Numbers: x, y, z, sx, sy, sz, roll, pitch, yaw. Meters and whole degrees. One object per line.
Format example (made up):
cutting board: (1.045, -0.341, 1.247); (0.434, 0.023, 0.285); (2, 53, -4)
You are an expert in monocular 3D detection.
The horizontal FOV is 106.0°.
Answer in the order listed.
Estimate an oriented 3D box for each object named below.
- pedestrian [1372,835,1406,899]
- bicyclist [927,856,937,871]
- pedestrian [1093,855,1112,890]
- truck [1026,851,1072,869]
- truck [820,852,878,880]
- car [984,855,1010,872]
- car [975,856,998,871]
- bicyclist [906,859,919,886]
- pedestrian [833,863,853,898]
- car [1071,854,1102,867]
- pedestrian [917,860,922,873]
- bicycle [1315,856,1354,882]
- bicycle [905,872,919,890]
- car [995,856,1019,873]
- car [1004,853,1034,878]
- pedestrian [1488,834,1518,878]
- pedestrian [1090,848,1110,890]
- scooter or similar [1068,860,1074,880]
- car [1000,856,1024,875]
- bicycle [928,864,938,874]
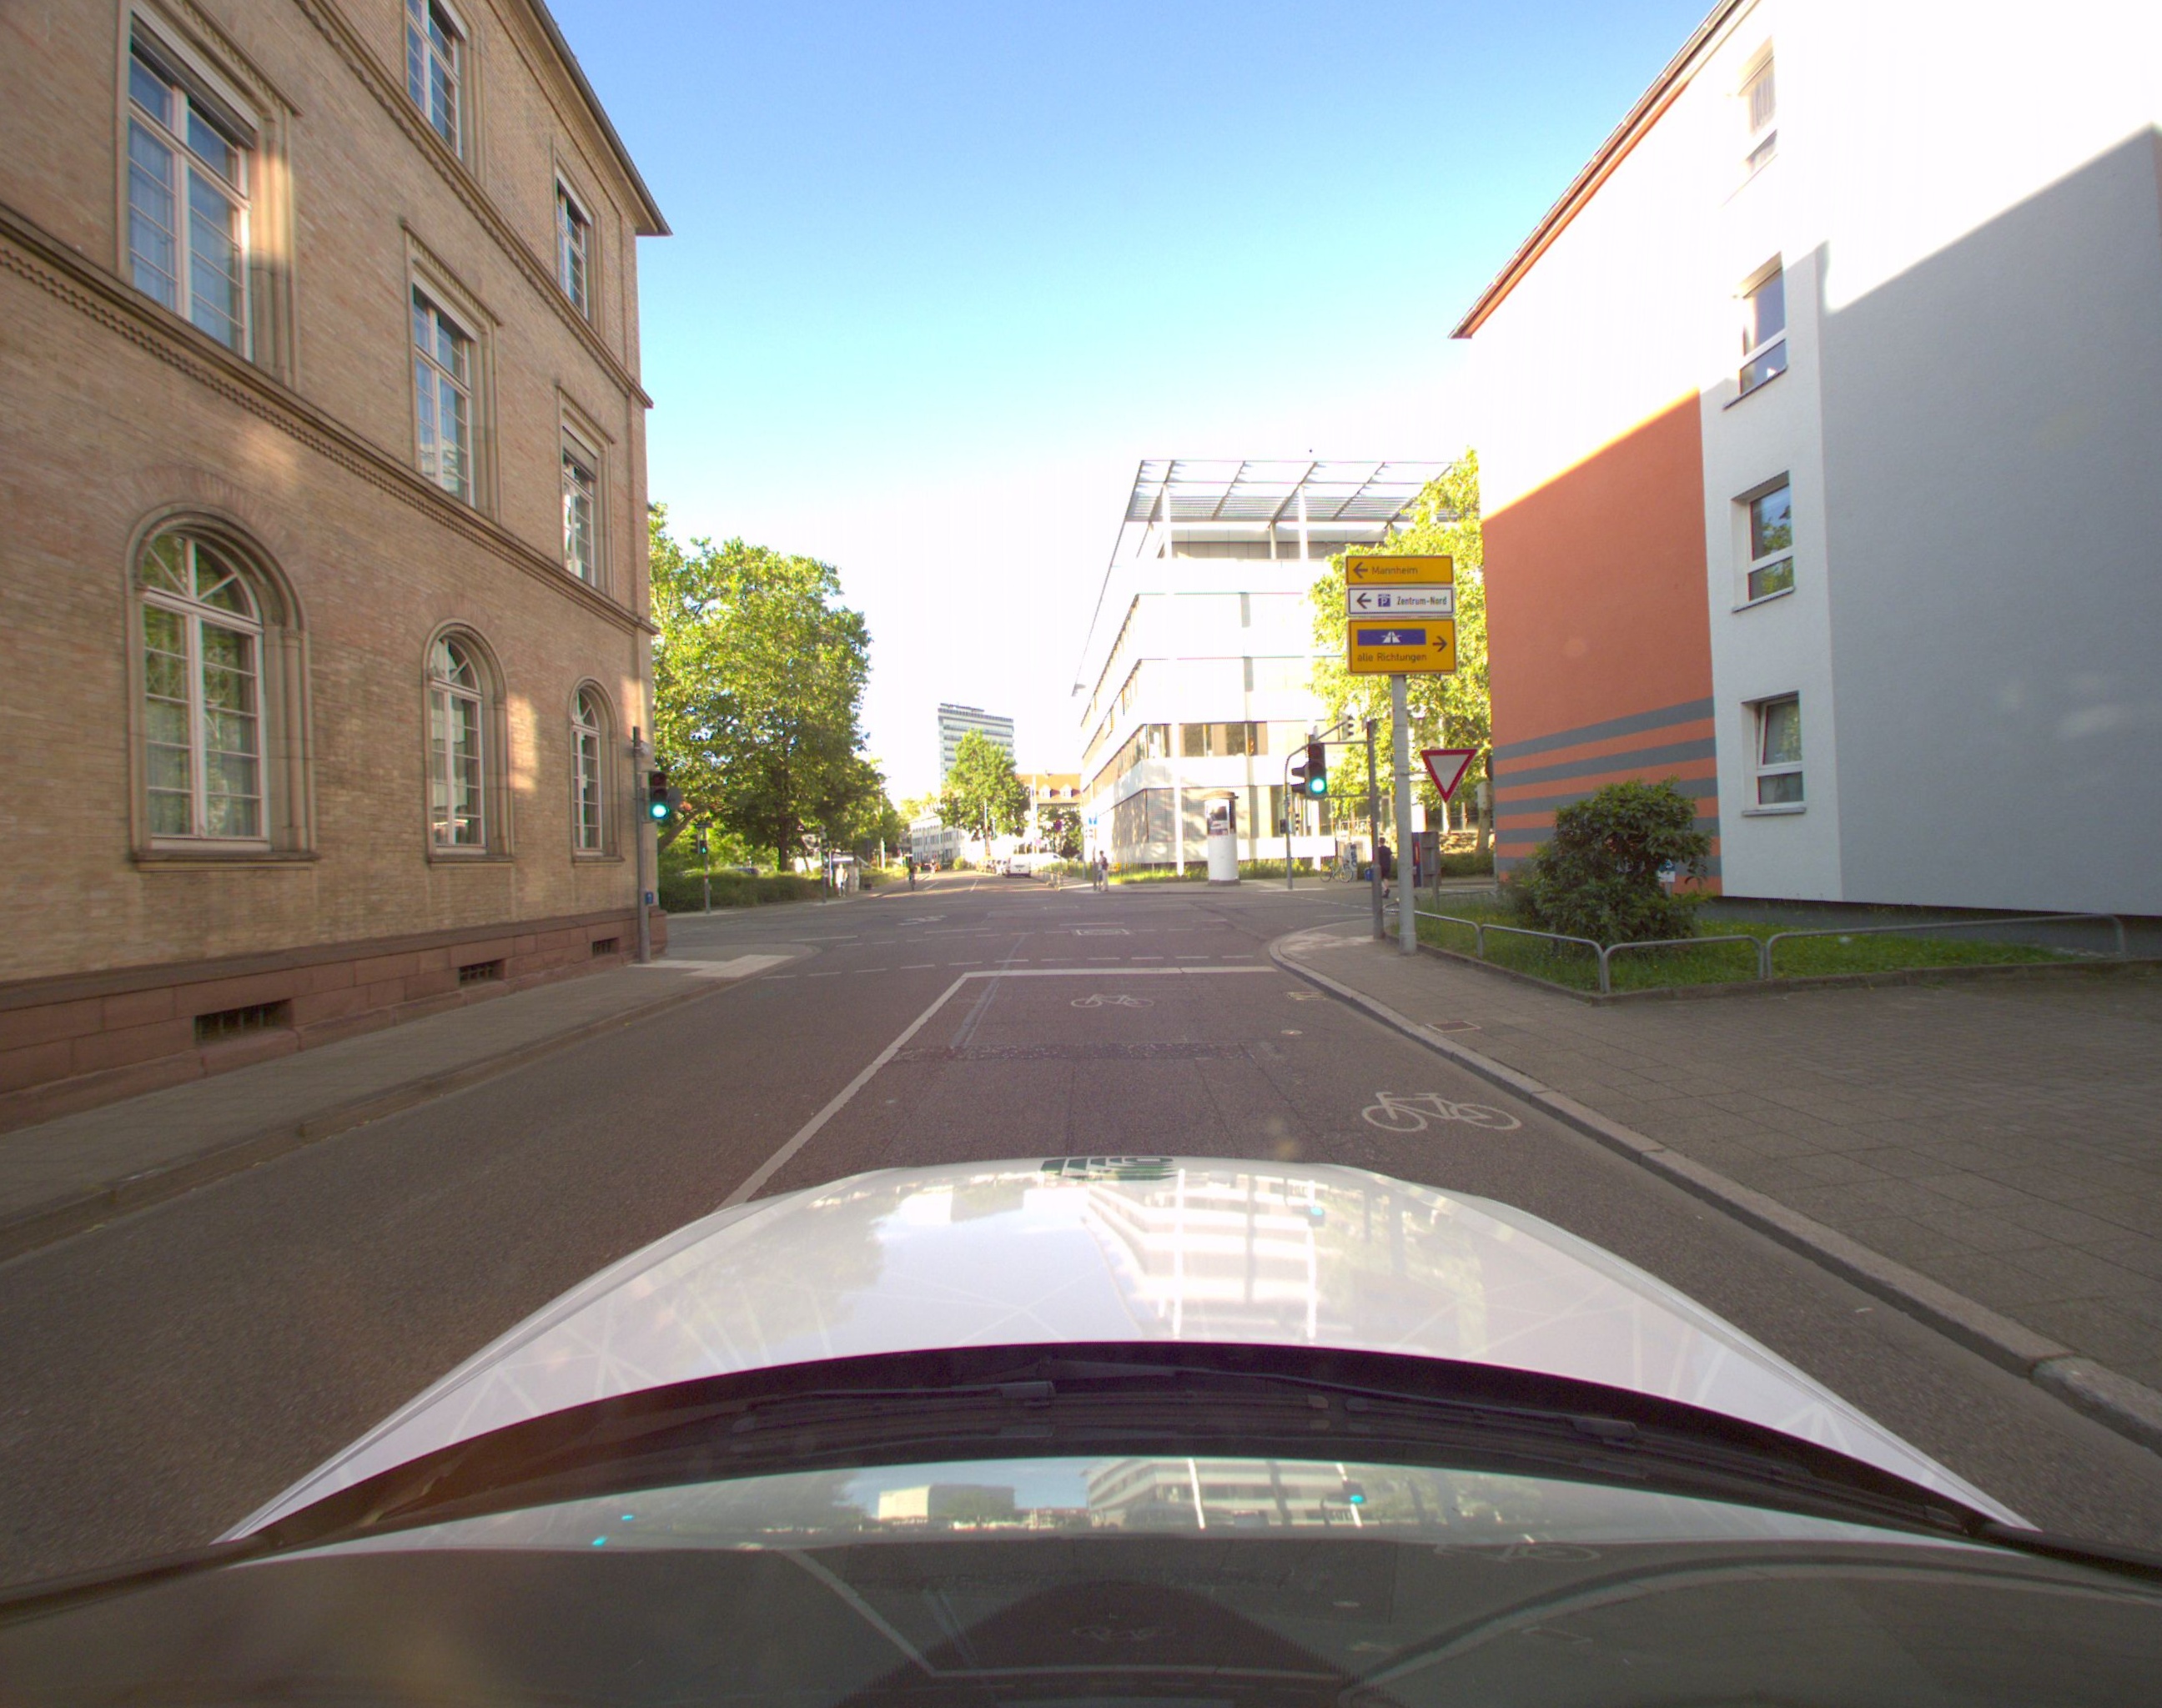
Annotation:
pedestrian: (9.057, 0.377, 23.952); (0.704, 1.840, 0.837); (0, 0, 2)
bicyclist: (-15.610, 1.017, 85.532); (0.866, 1.515, 1.016); (-5, 0, -9)
pedestrian: (0.975, 0.853, 37.026); (0.560, 1.540, 0.673); (-5, 0, -16)
truck: (-4.061, 0.754, 103.075); (5.351, 2.014, 1.988); (-2, -1, -17)
truck: (-21.480, 1.088, 75.577); (4.825, 2.399, 2.082); (-2, 0, -8)
car: (-8.877, 1.002, 85.689); (1.892, 1.655, 4.390); (-2, 1, -16)
car: (-11.106, 1.061, 95.691); (1.892, 1.655, 4.390); (-2, 1, -16)
bicyclist: (-9.978, 1.073, 48.137); (0.615, 1.532, 0.901); (-2, 0, -7)
pedestrian: (-11.990, 1.320, 41.067); (0.701, 1.723, 0.954); (-3, -1, -3)
car: (0.692, 0.864, 104.136); (3.563, 1.546, 1.549); (-2, -1, -17)
pedestrian: (-20.162, 1.595, 101.896); (0.435, 1.608, 0.489); (-2, 0, -24)
bicycle: (11.077, 0.659, 35.597); (0.510, 1.049, 1.670); (-4, 3, -33)
bicycle: (-9.957, 1.588, 48.120); (0.615, 0.970, 1.837); (-3, 0, -6)
car: (-7.134, 0.998, 78.388); (1.889, 1.555, 4.398); (-2, 1, -11)
car: (-4.997, 0.879, 64.751); (2.084, 1.795, 4.403); (-2, 1, -8)
pedestrian: (17.550, 0.078, 33.887); (0.834, 1.840, 0.707); (0, 0, -8)
pedestrian: (0.884, 0.699, 37.636); (0.555, 1.850, 0.680); (-5, 0, 18)
scooter or similar: (-0.733, 1.147, 58.452); (0.329, 1.424, 1.333); (0, -1, -3)
car: (-6.211, 0.988, 72.988); (1.887, 1.555, 4.403); (-2, 1, -8)
bicycle: (-15.571, 1.594, 85.511); (0.865, 1.009, 2.407); (-5, 0, -9)
